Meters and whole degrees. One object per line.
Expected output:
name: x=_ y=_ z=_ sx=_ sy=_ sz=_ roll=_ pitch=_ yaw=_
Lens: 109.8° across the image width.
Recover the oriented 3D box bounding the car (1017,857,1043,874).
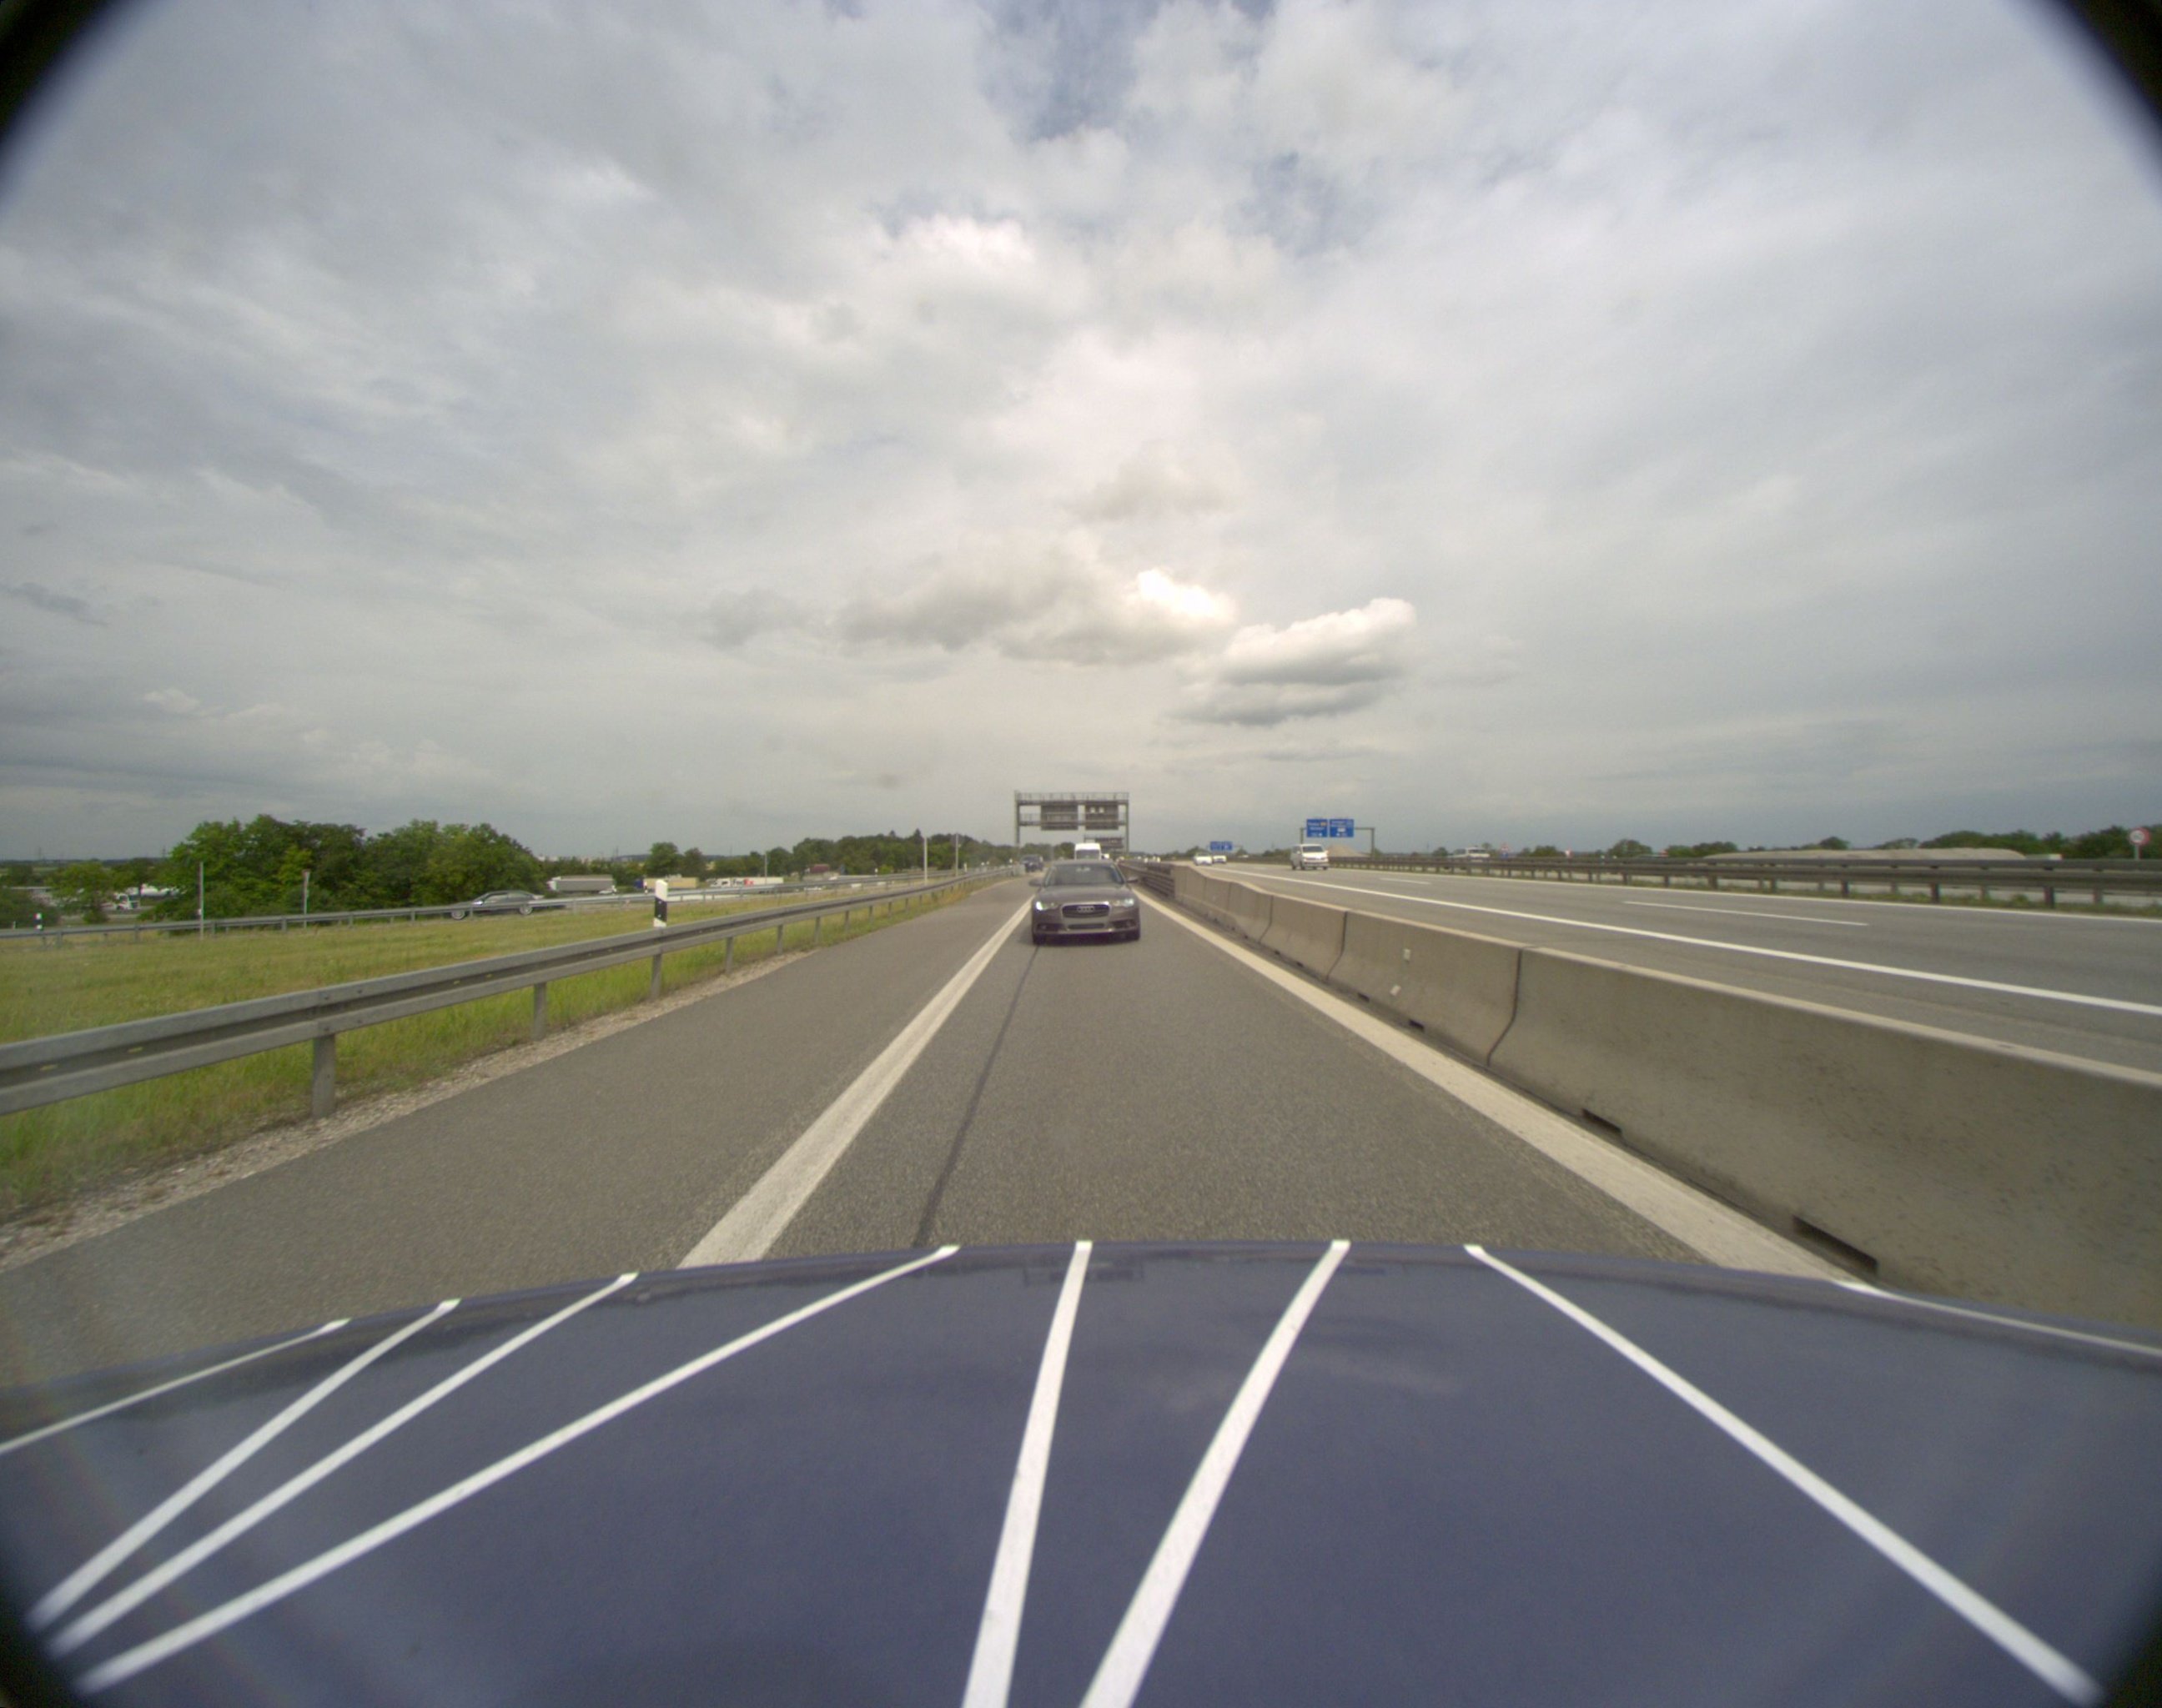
car: x=-5.357 y=1.206 z=80.058 sx=1.928 sy=1.761 sz=4.003 roll=-2 pitch=-1 yaw=8

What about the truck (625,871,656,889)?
truck: x=-122.280 y=7.189 z=211.037 sx=6.294 sy=4.484 sz=3.929 roll=-2 pitch=0 yaw=-11

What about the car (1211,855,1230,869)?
car: x=19.692 y=1.139 z=107.361 sx=1.998 sy=1.870 sz=4.001 roll=-2 pitch=-1 yaw=1

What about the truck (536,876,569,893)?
truck: x=-143.492 y=8.261 z=206.375 sx=6.294 sy=4.484 sz=3.929 roll=-2 pitch=0 yaw=-10

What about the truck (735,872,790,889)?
truck: x=-90.812 y=7.541 z=216.791 sx=13.794 sy=4.527 sz=4.005 roll=-2 pitch=0 yaw=-11

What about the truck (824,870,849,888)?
truck: x=-71.255 y=7.256 z=221.188 sx=6.294 sy=4.647 sz=3.928 roll=-2 pitch=0 yaw=-11

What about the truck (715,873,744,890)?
truck: x=-99.442 y=7.779 z=215.066 sx=6.294 sy=4.484 sz=3.929 roll=-2 pitch=0 yaw=-11

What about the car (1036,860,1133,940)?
car: x=0.130 y=0.875 z=16.036 sx=1.747 sy=1.380 sz=4.000 roll=-2 pitch=0 yaw=2

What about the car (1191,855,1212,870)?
car: x=14.965 y=1.100 z=94.568 sx=1.998 sy=1.739 sz=4.001 roll=-2 pitch=-1 yaw=1

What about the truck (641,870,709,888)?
truck: x=-113.556 y=6.941 z=212.782 sx=16.368 sy=4.527 sz=4.005 roll=-2 pitch=0 yaw=-11

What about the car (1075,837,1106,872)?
car: x=0.731 y=0.061 z=57.568 sx=2.119 sy=2.439 sz=6.153 roll=-2 pitch=-1 yaw=1

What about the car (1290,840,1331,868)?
car: x=17.263 y=0.017 z=57.346 sx=1.998 sy=2.001 sz=4.467 roll=-2 pitch=-1 yaw=4

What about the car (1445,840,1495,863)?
car: x=29.977 y=-0.179 z=58.701 sx=1.748 sy=1.613 sz=4.518 roll=-2 pitch=-1 yaw=3

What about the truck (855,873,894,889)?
truck: x=-59.362 y=7.689 z=218.784 sx=10.788 sy=4.047 sz=3.237 roll=-2 pitch=0 yaw=-14

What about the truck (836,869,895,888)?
truck: x=-63.112 y=7.112 z=222.835 sx=16.176 sy=4.672 sz=3.990 roll=-2 pitch=0 yaw=-11

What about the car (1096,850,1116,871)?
car: x=2.447 y=0.637 z=73.484 sx=1.845 sy=1.870 sz=4.290 roll=-2 pitch=-1 yaw=3

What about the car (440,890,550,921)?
car: x=-30.029 y=2.602 z=39.073 sx=4.374 sy=1.273 sz=1.705 roll=-1 pitch=-1 yaw=-37

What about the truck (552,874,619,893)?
truck: x=-135.350 y=8.053 z=207.876 sx=14.887 sy=4.527 sz=4.005 roll=-2 pitch=0 yaw=-10
